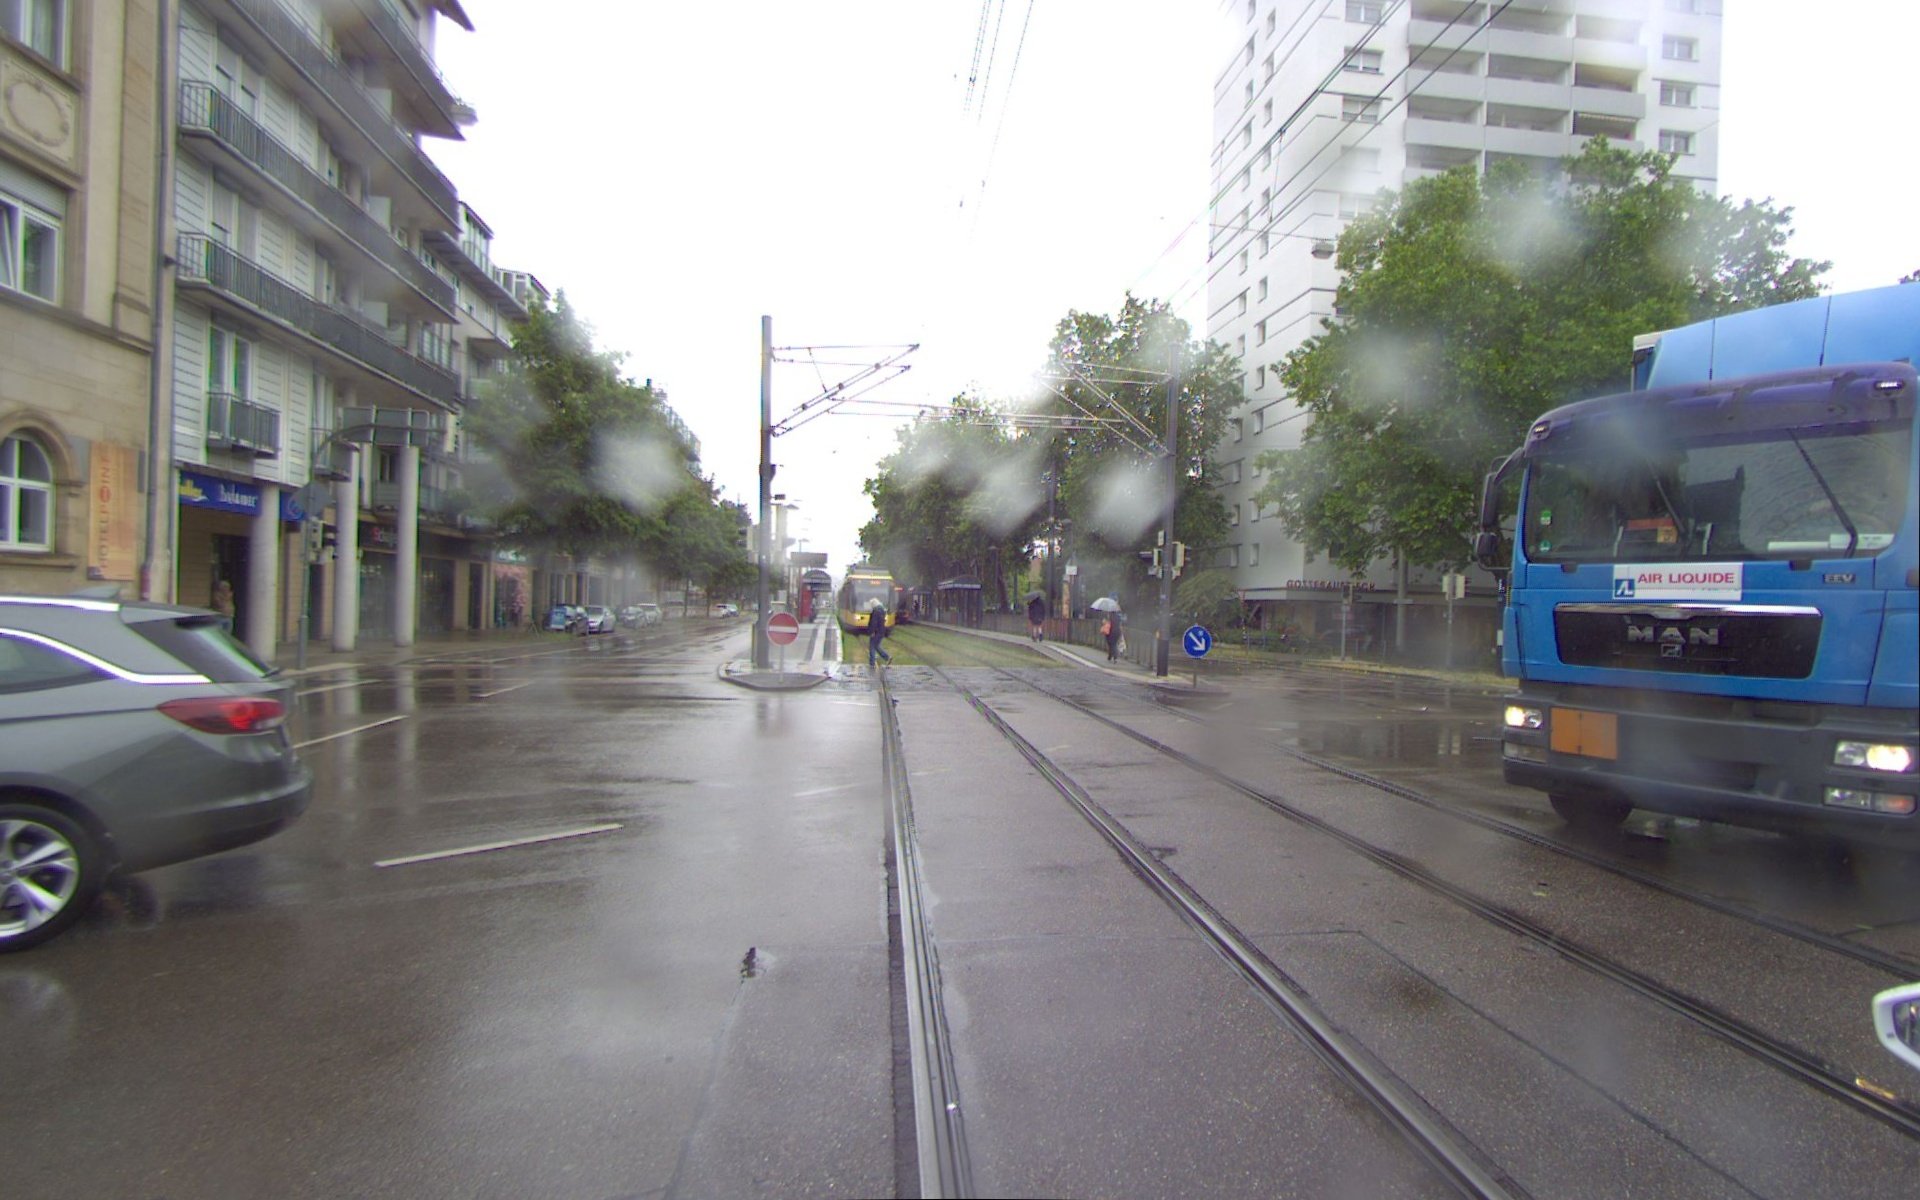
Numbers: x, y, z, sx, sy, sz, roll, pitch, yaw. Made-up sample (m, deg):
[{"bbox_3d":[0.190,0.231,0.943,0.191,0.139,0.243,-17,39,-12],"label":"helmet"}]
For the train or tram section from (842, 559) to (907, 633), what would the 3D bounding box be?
[{"bbox_3d":[-4.918,-0.145,55.560,3.016,3.550,11.563,2,-1,-7],"label":"train or tram section"}]

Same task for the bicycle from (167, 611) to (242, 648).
[{"bbox_3d":[-19.132,0.722,25.493,0.570,0.878,1.926,2,0,-5],"label":"bicycle"}]

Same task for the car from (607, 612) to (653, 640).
[{"bbox_3d":[-18.838,1.459,57.446,1.792,1.439,3.994,2,0,-9],"label":"car"}]

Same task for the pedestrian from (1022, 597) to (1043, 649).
[{"bbox_3d":[2.936,0.932,40.867,0.626,2.105,0.701,2,0,-12],"label":"pedestrian"}]

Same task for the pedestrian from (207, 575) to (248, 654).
[{"bbox_3d":[-17.079,0.339,23.433,0.490,1.804,0.611,2,0,-7],"label":"pedestrian"}]

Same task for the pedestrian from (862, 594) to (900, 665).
[{"bbox_3d":[-1.932,0.720,24.520,0.743,1.670,0.835,2,-1,-16],"label":"pedestrian"}]

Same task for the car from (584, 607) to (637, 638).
[{"bbox_3d":[-17.673,1.116,51.009,1.792,1.439,3.994,2,0,-9],"label":"car"}]

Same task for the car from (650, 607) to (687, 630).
[{"bbox_3d":[-19.158,1.188,66.146,1.792,1.439,3.994,2,0,-9],"label":"car"}]

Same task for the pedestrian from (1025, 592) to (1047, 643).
[{"bbox_3d":[2.795,0.636,37.123,0.628,1.863,0.678,1,-1,-8],"label":"pedestrian"}]

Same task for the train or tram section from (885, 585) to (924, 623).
[{"bbox_3d":[-5.630,0.423,100.306,3.016,3.550,11.563,2,-1,-7],"label":"train or tram section"}]

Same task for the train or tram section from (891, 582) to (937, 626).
[{"bbox_3d":[-4.213,0.362,88.827,3.016,3.550,11.563,2,-1,-7],"label":"train or tram section"}]

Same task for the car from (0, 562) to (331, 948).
[{"bbox_3d":[-5.218,0.605,4.245,4.292,1.567,1.717,2,-1,-32],"label":"car"}]

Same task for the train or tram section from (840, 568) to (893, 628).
[{"bbox_3d":[-6.361,-0.049,67.045,3.016,3.550,11.563,2,-1,-7],"label":"train or tram section"}]

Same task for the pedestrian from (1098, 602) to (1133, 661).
[{"bbox_3d":[4.521,0.922,29.182,0.779,1.670,0.816,1,-1,-8],"label":"pedestrian"}]

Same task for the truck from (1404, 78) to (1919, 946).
[{"bbox_3d":[8.093,-0.257,8.556,10.208,4.078,2.829,2,-1,-34],"label":"truck"}]
